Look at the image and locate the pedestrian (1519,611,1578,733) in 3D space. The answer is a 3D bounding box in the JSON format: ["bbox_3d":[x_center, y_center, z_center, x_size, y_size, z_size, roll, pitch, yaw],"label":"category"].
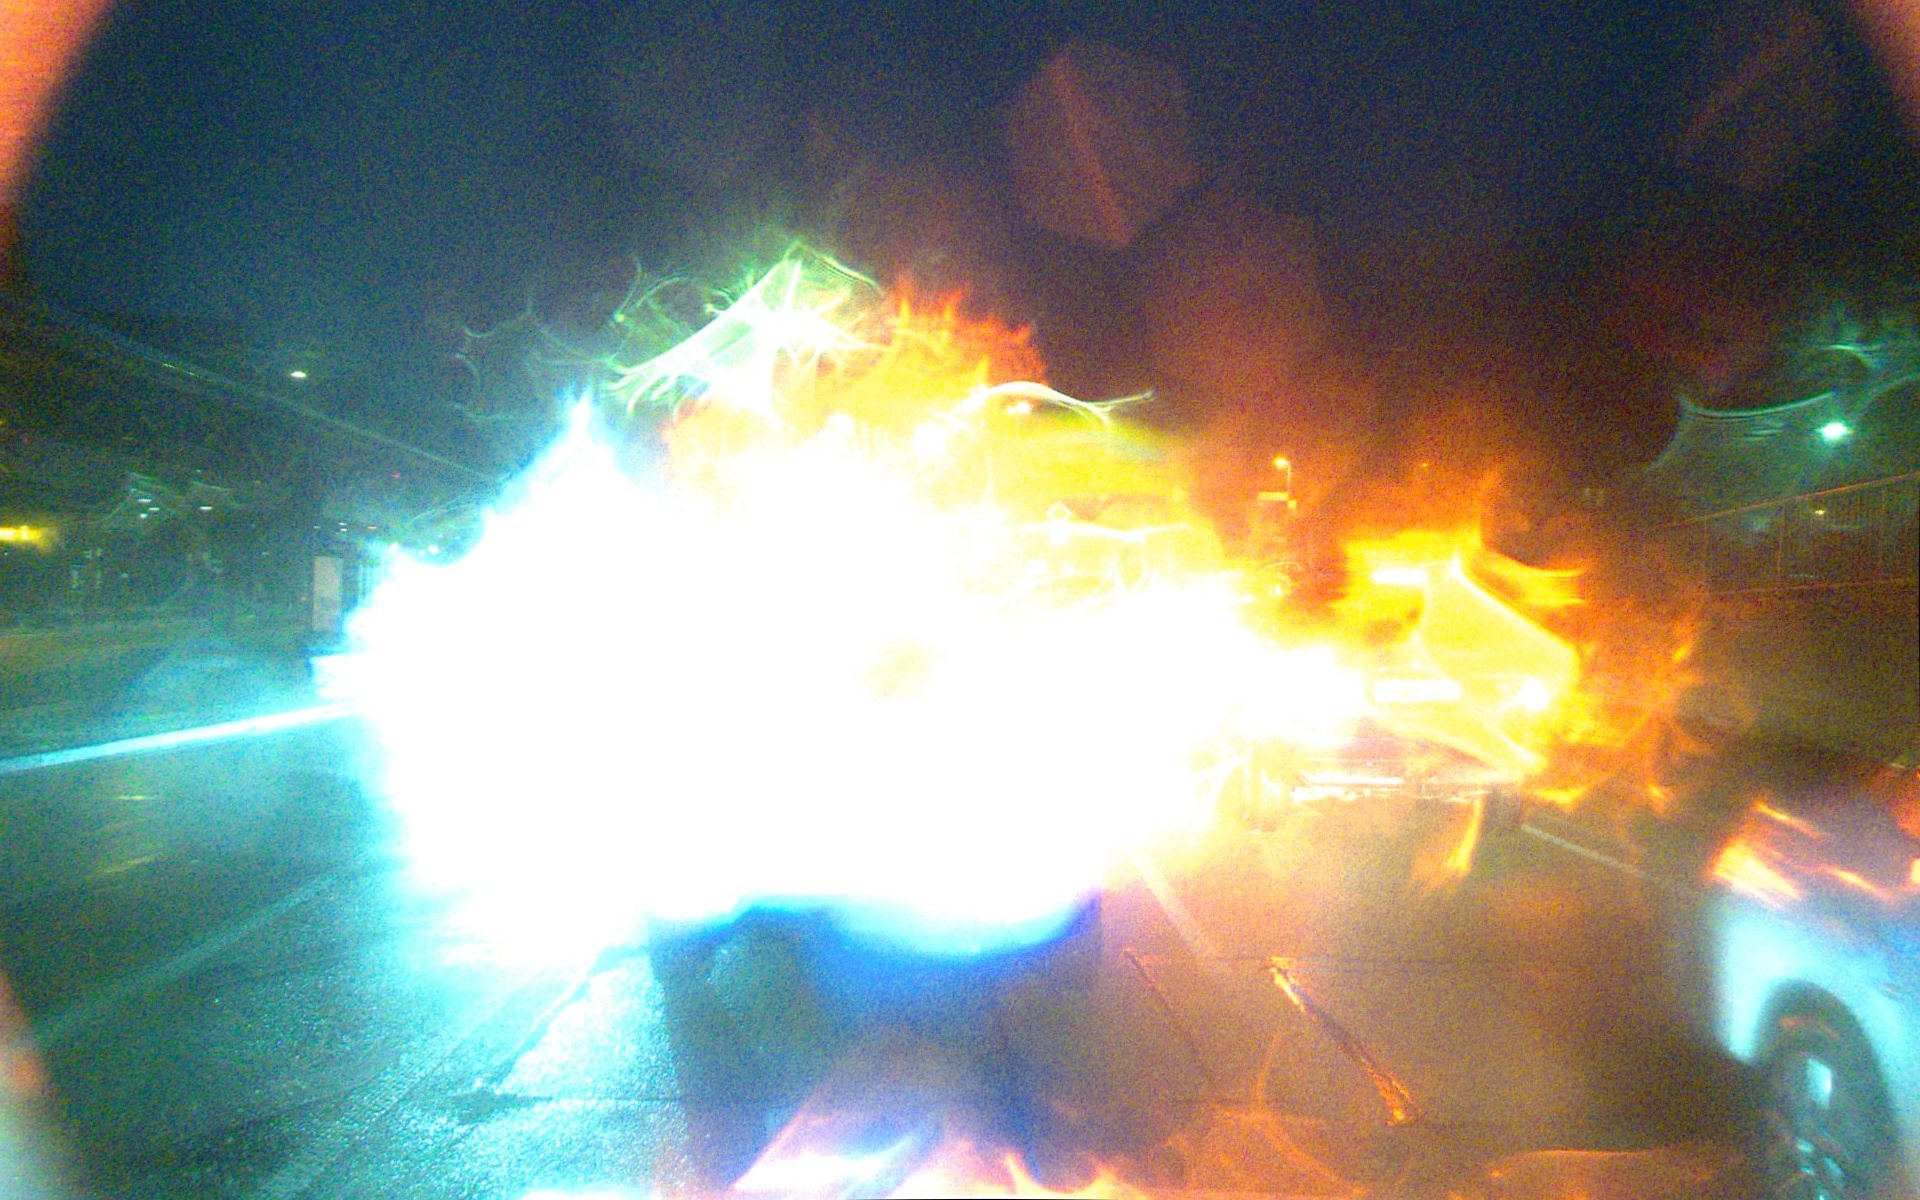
[{"bbox_3d":[8.467,1.025,23.804,0.610,1.731,0.540,1,-1,-3],"label":"pedestrian"}]

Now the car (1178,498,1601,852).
[{"bbox_3d":[2.833,0.457,11.881,1.929,2.082,3.999,1,0,-1],"label":"car"}]

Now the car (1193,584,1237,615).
[{"bbox_3d":[14.601,-0.010,94.747,1.827,1.675,3.963,-2,0,0],"label":"car"}]

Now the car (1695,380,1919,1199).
[{"bbox_3d":[2.777,0.534,1.961,1.814,1.897,4.339,1,0,-1],"label":"car"}]

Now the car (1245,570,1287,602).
[{"bbox_3d":[20.172,-0.883,109.307,1.953,2.049,3.999,1,0,-1],"label":"car"}]

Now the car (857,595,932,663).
[{"bbox_3d":[-1.953,0.815,48.177,1.955,1.856,3.995,1,0,-6],"label":"car"}]

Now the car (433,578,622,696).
[{"bbox_3d":[-6.530,0.490,25.464,1.850,1.595,4.485,0,2,-2],"label":"car"}]

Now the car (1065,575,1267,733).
[{"bbox_3d":[2.451,0.621,20.659,1.953,1.748,3.999,1,0,-1],"label":"car"}]

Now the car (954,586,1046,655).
[{"bbox_3d":[0.933,0.488,40.785,1.821,1.571,3.926,1,0,-5],"label":"car"}]

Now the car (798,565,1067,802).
[{"bbox_3d":[-0.233,0.622,14.186,1.953,1.713,3.999,1,0,-1],"label":"car"}]

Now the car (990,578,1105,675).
[{"bbox_3d":[1.710,0.514,33.645,1.953,1.804,3.998,1,0,-2],"label":"car"}]

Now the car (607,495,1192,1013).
[{"bbox_3d":[-0.306,0.543,7.893,1.974,1.747,4.449,1,0,-3],"label":"car"}]

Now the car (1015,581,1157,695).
[{"bbox_3d":[1.993,0.587,27.276,1.953,1.699,3.999,1,0,-1],"label":"car"}]
